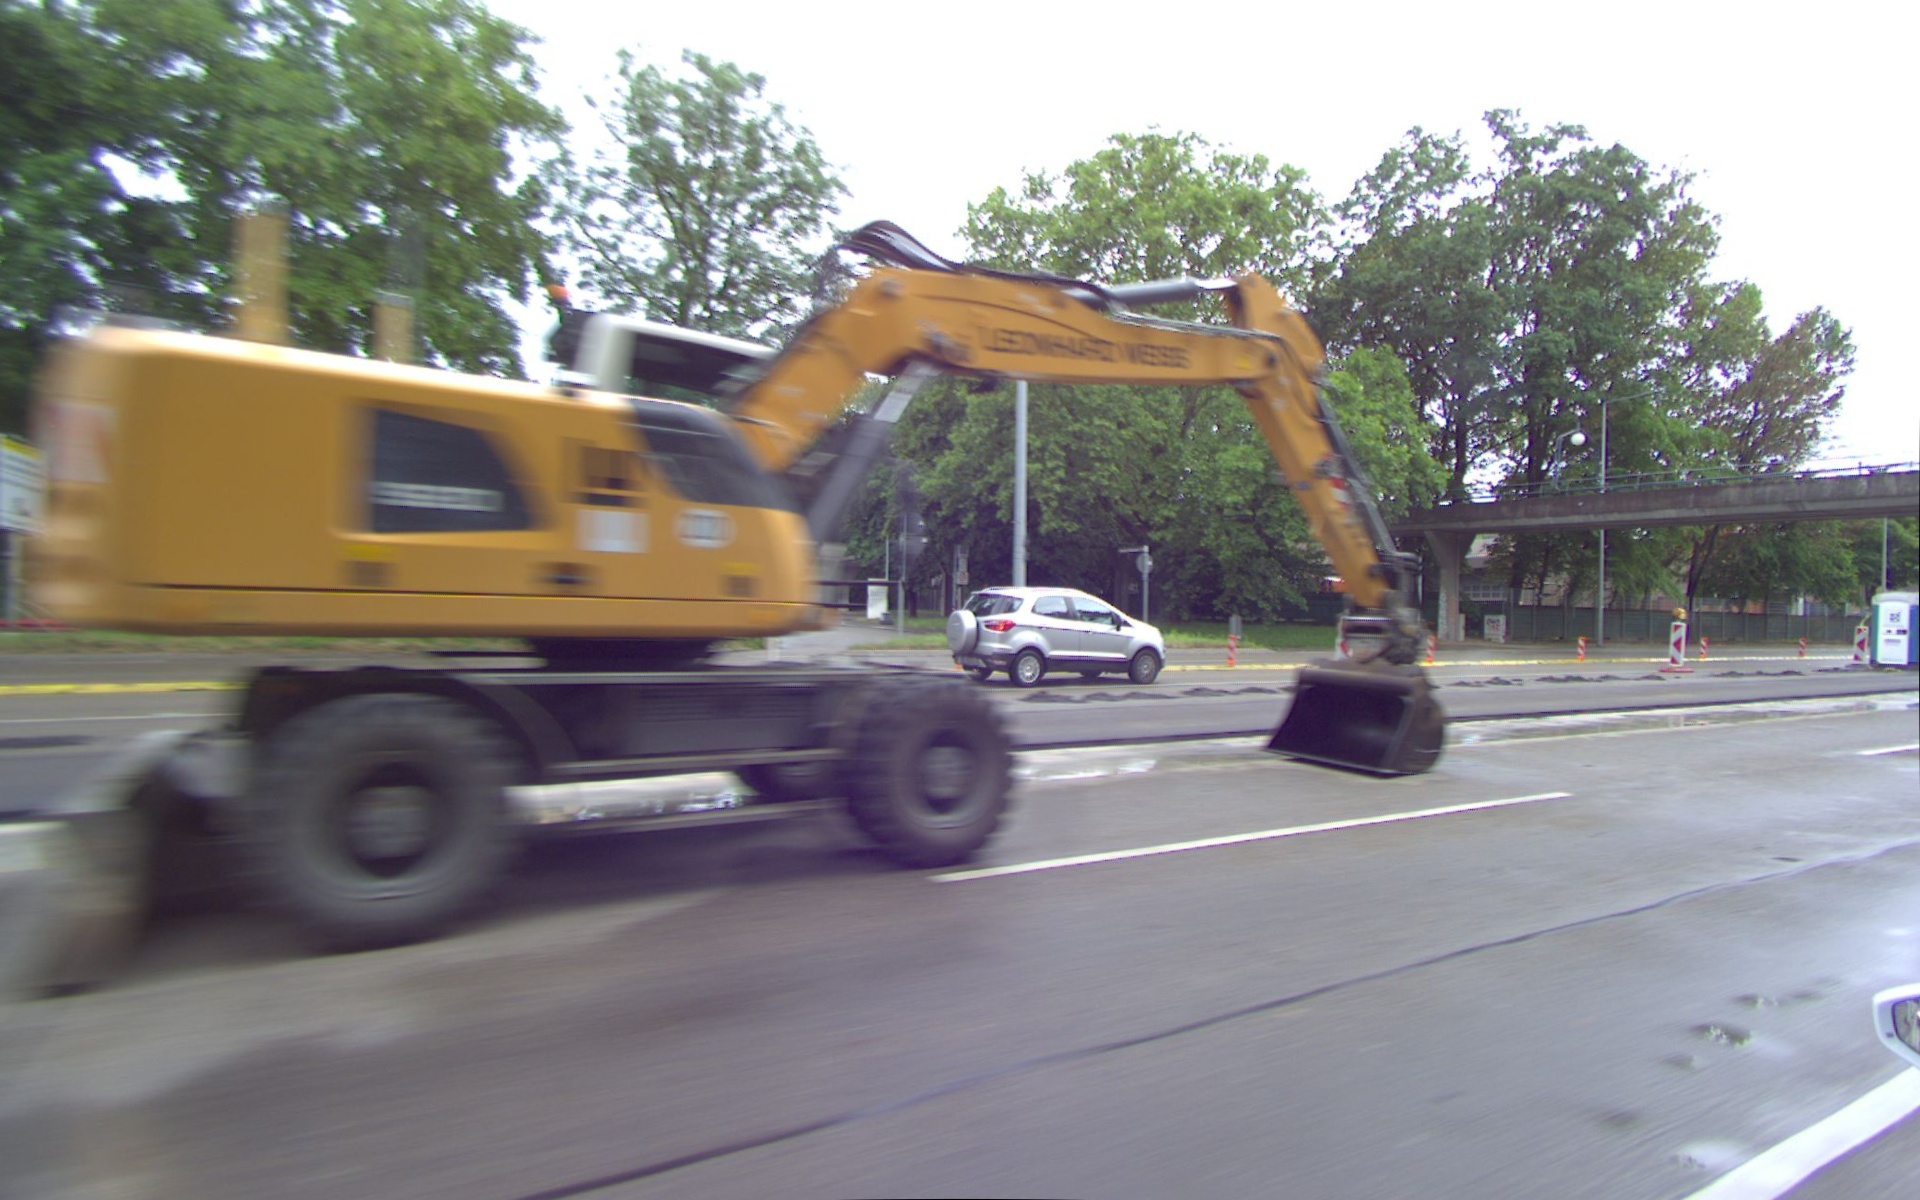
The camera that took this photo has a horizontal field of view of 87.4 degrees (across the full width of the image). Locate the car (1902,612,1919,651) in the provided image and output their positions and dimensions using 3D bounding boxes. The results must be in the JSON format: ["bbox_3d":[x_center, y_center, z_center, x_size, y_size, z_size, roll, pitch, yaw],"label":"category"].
[{"bbox_3d":[48.229,1.567,49.042,4.551,1.830,1.963,2,-1,-29],"label":"car"}]

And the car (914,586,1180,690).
[{"bbox_3d":[1.543,0.621,17.465,4.313,1.585,1.879,1,1,-31],"label":"car"}]

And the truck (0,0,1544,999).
[{"bbox_3d":[0.129,-0.769,7.356,10.647,4.316,2.878,1,1,-35],"label":"truck"}]
